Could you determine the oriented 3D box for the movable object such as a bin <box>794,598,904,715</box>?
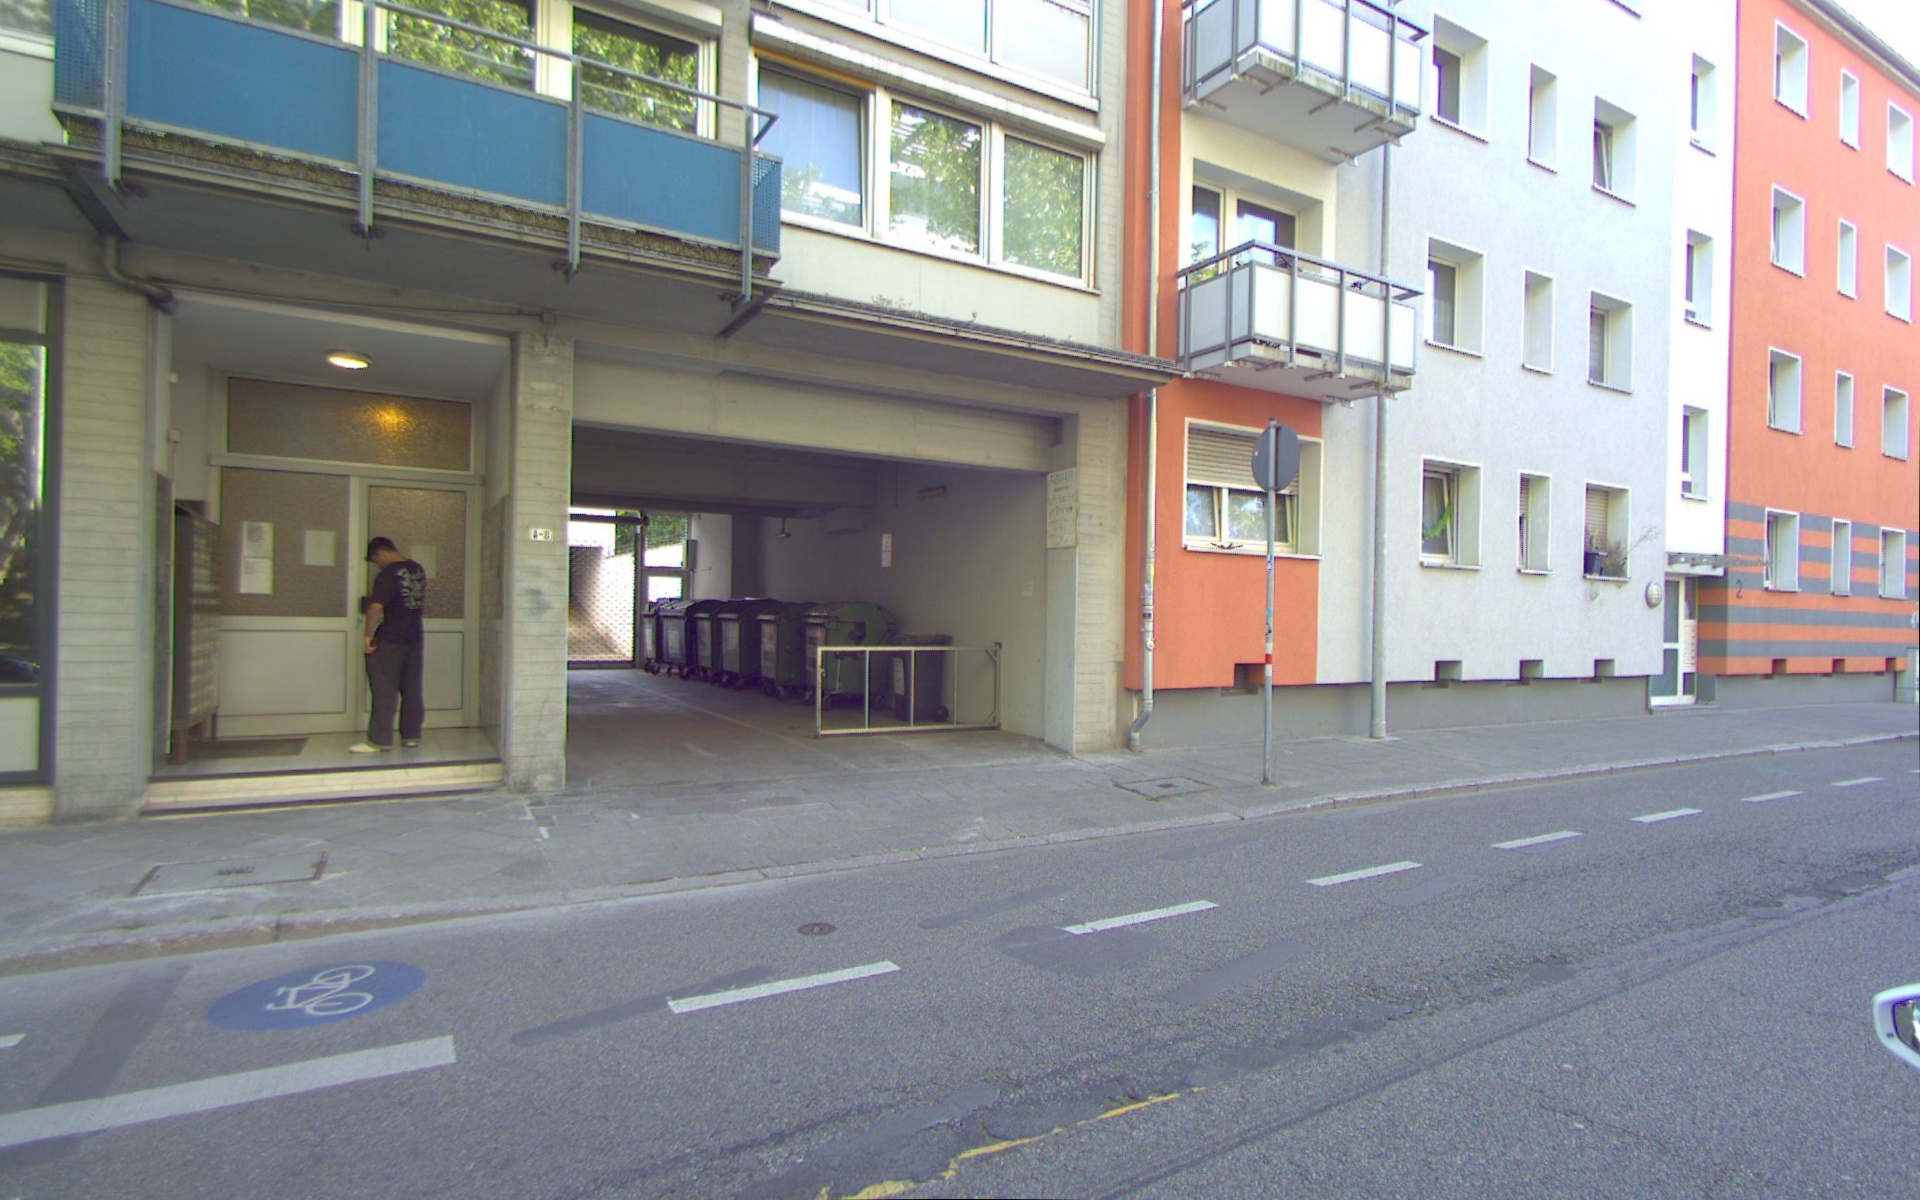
[{"bbox_3d":[-1.535,0.744,13.773,1.086,1.503,1.251,1,0,-30],"label":"movable object such as a bin"}]

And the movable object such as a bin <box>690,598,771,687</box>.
[{"bbox_3d":[-4.043,0.725,17.640,1.080,1.503,1.159,1,0,-30],"label":"movable object such as a bin"}]

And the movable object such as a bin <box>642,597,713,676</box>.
[{"bbox_3d":[-5.601,0.710,19.916,1.167,1.503,0.819,1,0,-30],"label":"movable object such as a bin"}]

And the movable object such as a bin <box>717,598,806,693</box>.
[{"bbox_3d":[-3.296,0.727,16.641,1.167,1.503,1.073,1,0,-30],"label":"movable object such as a bin"}]

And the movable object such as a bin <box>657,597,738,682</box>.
[{"bbox_3d":[-4.886,0.713,18.689,1.167,1.503,1.215,1,0,-30],"label":"movable object such as a bin"}]

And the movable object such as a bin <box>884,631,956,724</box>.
[{"bbox_3d":[-0.498,0.945,12.458,0.687,1.094,0.579,1,0,-30],"label":"movable object such as a bin"}]

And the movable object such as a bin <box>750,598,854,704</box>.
[{"bbox_3d":[-2.402,0.735,15.153,1.167,1.503,1.252,1,0,-30],"label":"movable object such as a bin"}]

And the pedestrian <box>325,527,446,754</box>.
[{"bbox_3d":[-4.586,0.313,8.051,0.537,1.736,0.662,1,0,3],"label":"pedestrian"}]
